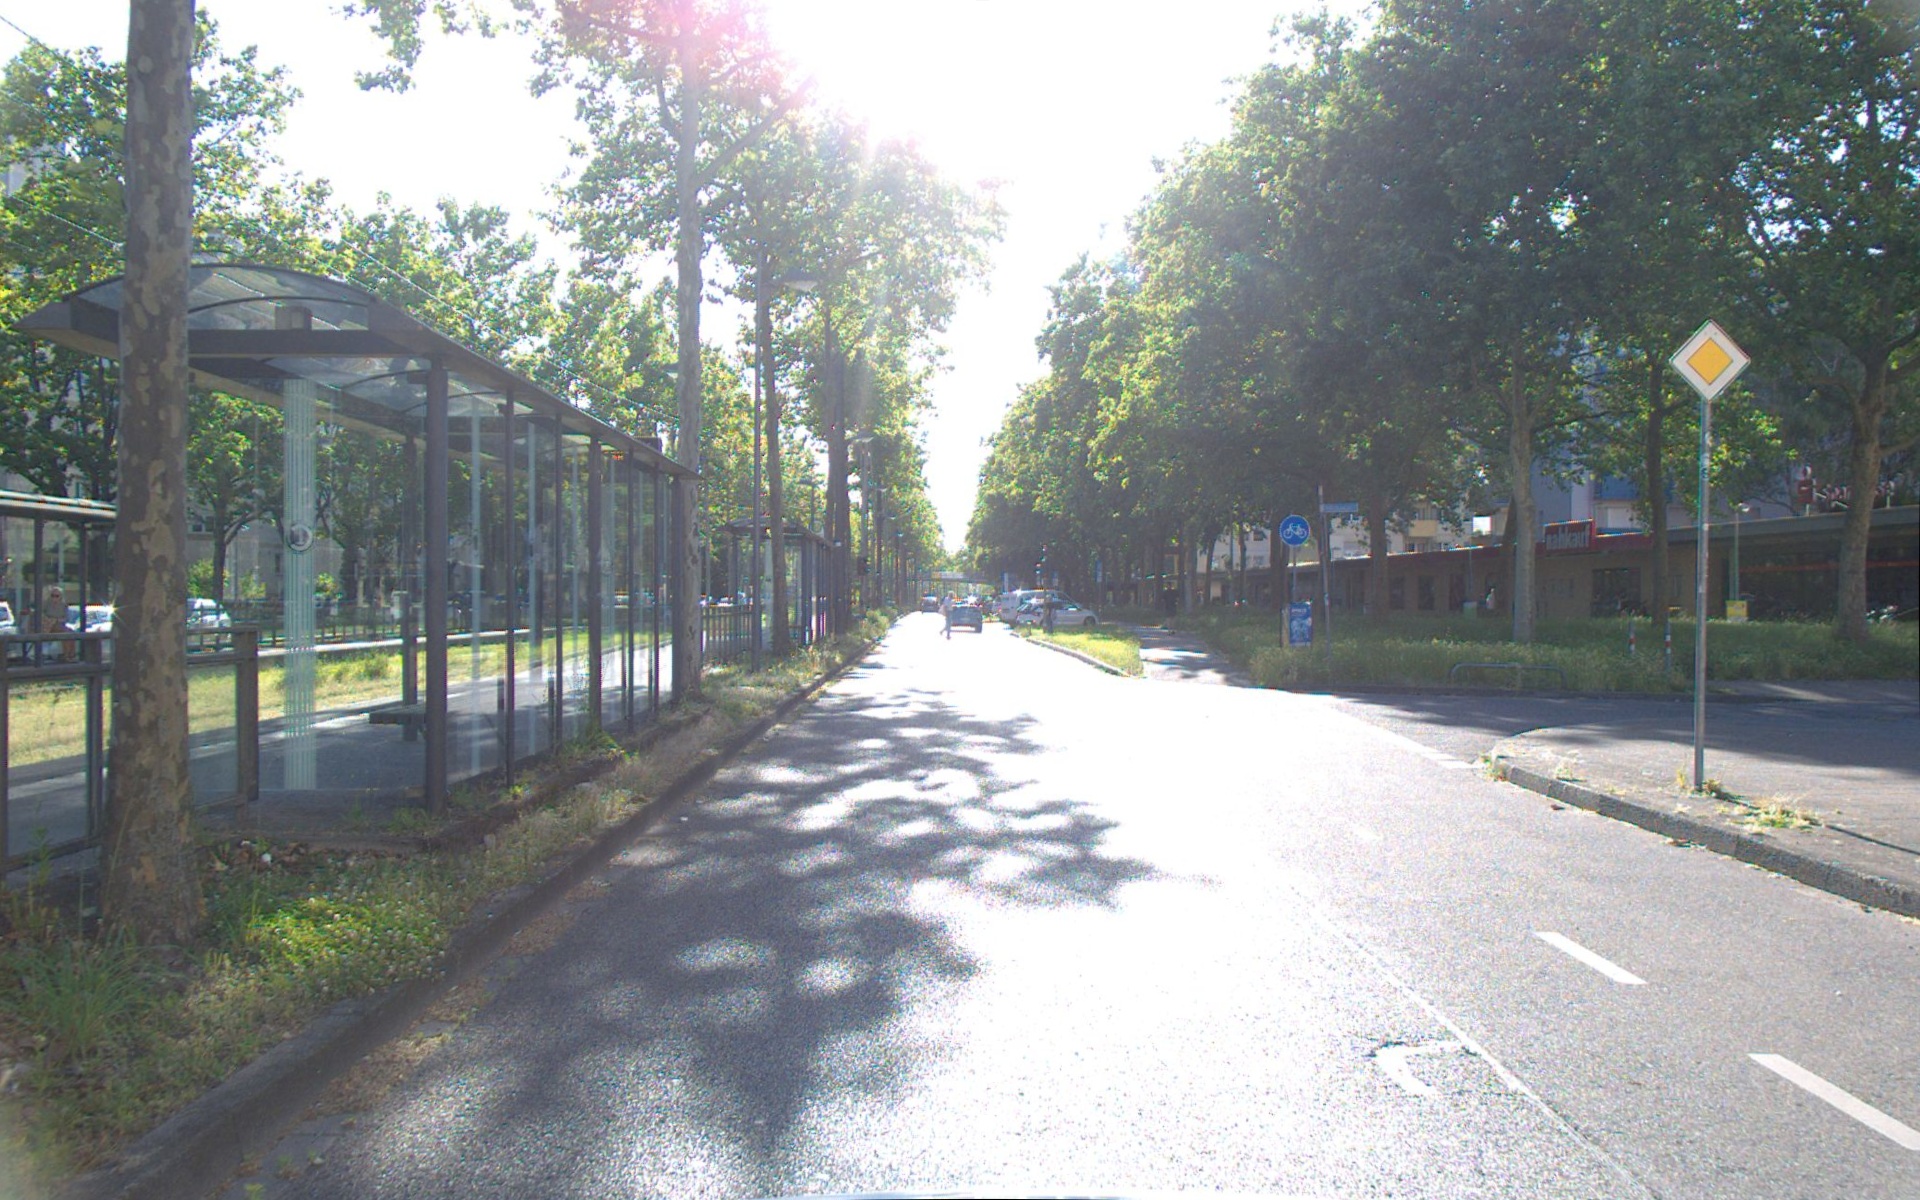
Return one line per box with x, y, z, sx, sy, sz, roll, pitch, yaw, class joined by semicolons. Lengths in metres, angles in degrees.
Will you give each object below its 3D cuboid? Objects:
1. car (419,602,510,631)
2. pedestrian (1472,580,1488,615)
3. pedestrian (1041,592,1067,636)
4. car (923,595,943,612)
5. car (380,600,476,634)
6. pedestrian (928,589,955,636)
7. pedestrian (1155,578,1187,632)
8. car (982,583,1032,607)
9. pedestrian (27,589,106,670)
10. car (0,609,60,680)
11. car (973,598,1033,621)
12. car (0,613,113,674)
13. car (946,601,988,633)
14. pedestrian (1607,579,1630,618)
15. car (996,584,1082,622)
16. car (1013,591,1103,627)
-23.583;0.772;78.770;3.795;1.268;1.811;-1;0;-43;car
25.919;-0.130;82.413;0.485;1.730;0.715;-1;1;-6;pedestrian
3.741;0.548;65.830;0.704;1.736;0.646;-2;0;-35;pedestrian
-2.407;0.310;148.796;1.811;1.562;3.866;0;0;-1;car
-24.171;0.773;75.190;1.806;1.460;3.806;0;0;39;car
-0.706;0.465;63.063;0.824;1.752;0.831;-1;0;14;pedestrian
7.681;0.177;60.192;0.910;1.918;0.797;0;0;-15;pedestrian
3.830;-0.430;133.838;4.049;1.842;1.626;-2;0;-41;car
-14.598;0.468;27.033;0.821;1.283;0.798;1;0;28;pedestrian
-22.620;1.038;37.977;1.678;1.573;3.934;-1;0;2;car
2.778;0.614;106.079;3.910;1.397;1.561;-2;0;-45;car
-20.386;0.944;36.984;1.237;1.263;3.375;0;0;-2;car
0.326;0.793;79.887;1.883;1.436;3.999;1;0;-2;car
27.961;-0.069;70.235;0.658;1.612;0.715;-1;1;-7;pedestrian
4.213;0.158;87.877;4.630;1.885;1.803;-2;0;-42;car
4.604;0.428;77.605;3.949;1.495;1.741;-3;1;-33;car
